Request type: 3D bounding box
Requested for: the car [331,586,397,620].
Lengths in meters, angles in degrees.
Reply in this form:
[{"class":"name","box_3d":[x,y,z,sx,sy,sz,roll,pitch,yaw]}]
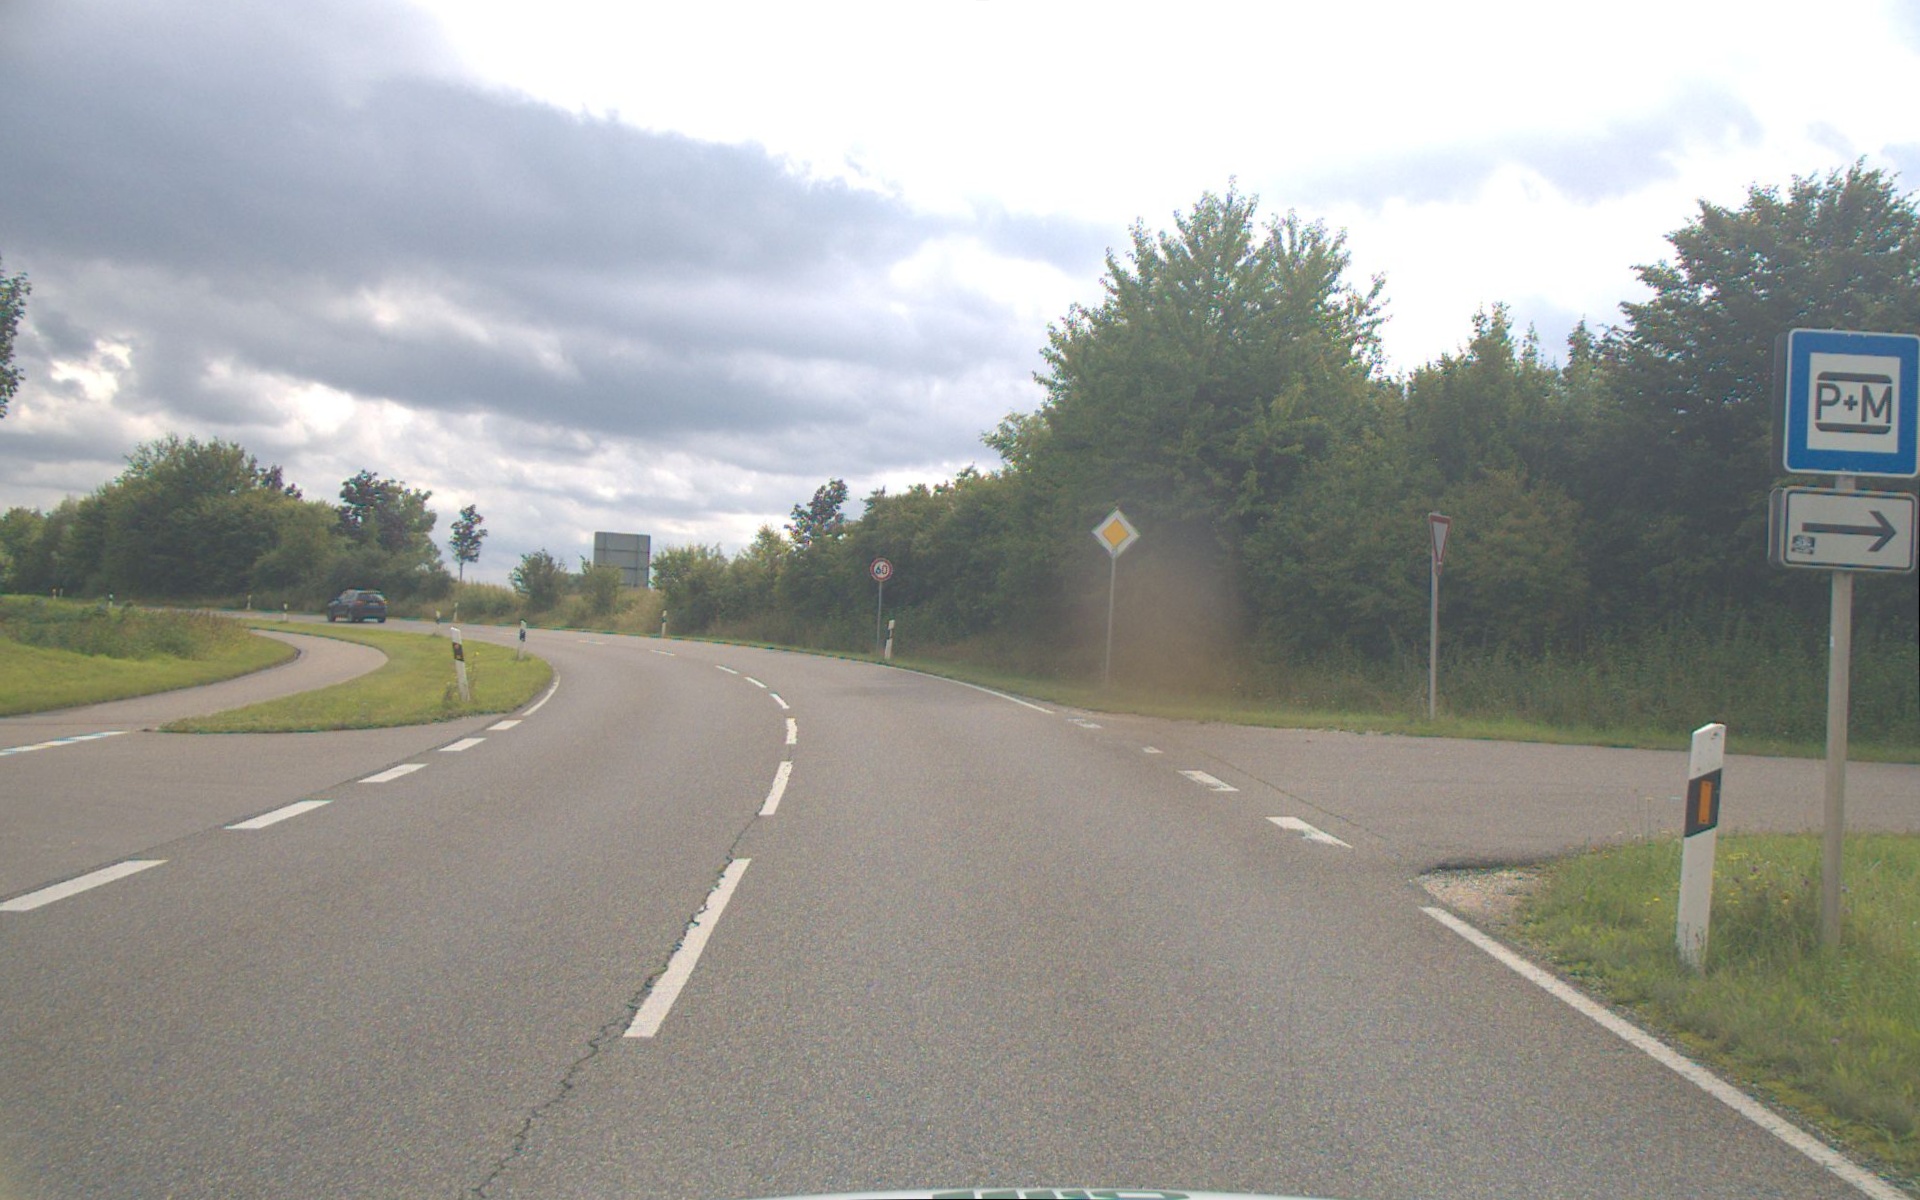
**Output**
[{"class":"car","box_3d":[-31.450,0.142,87.241,1.897,1.695,3.938,2,0,-42]}]
